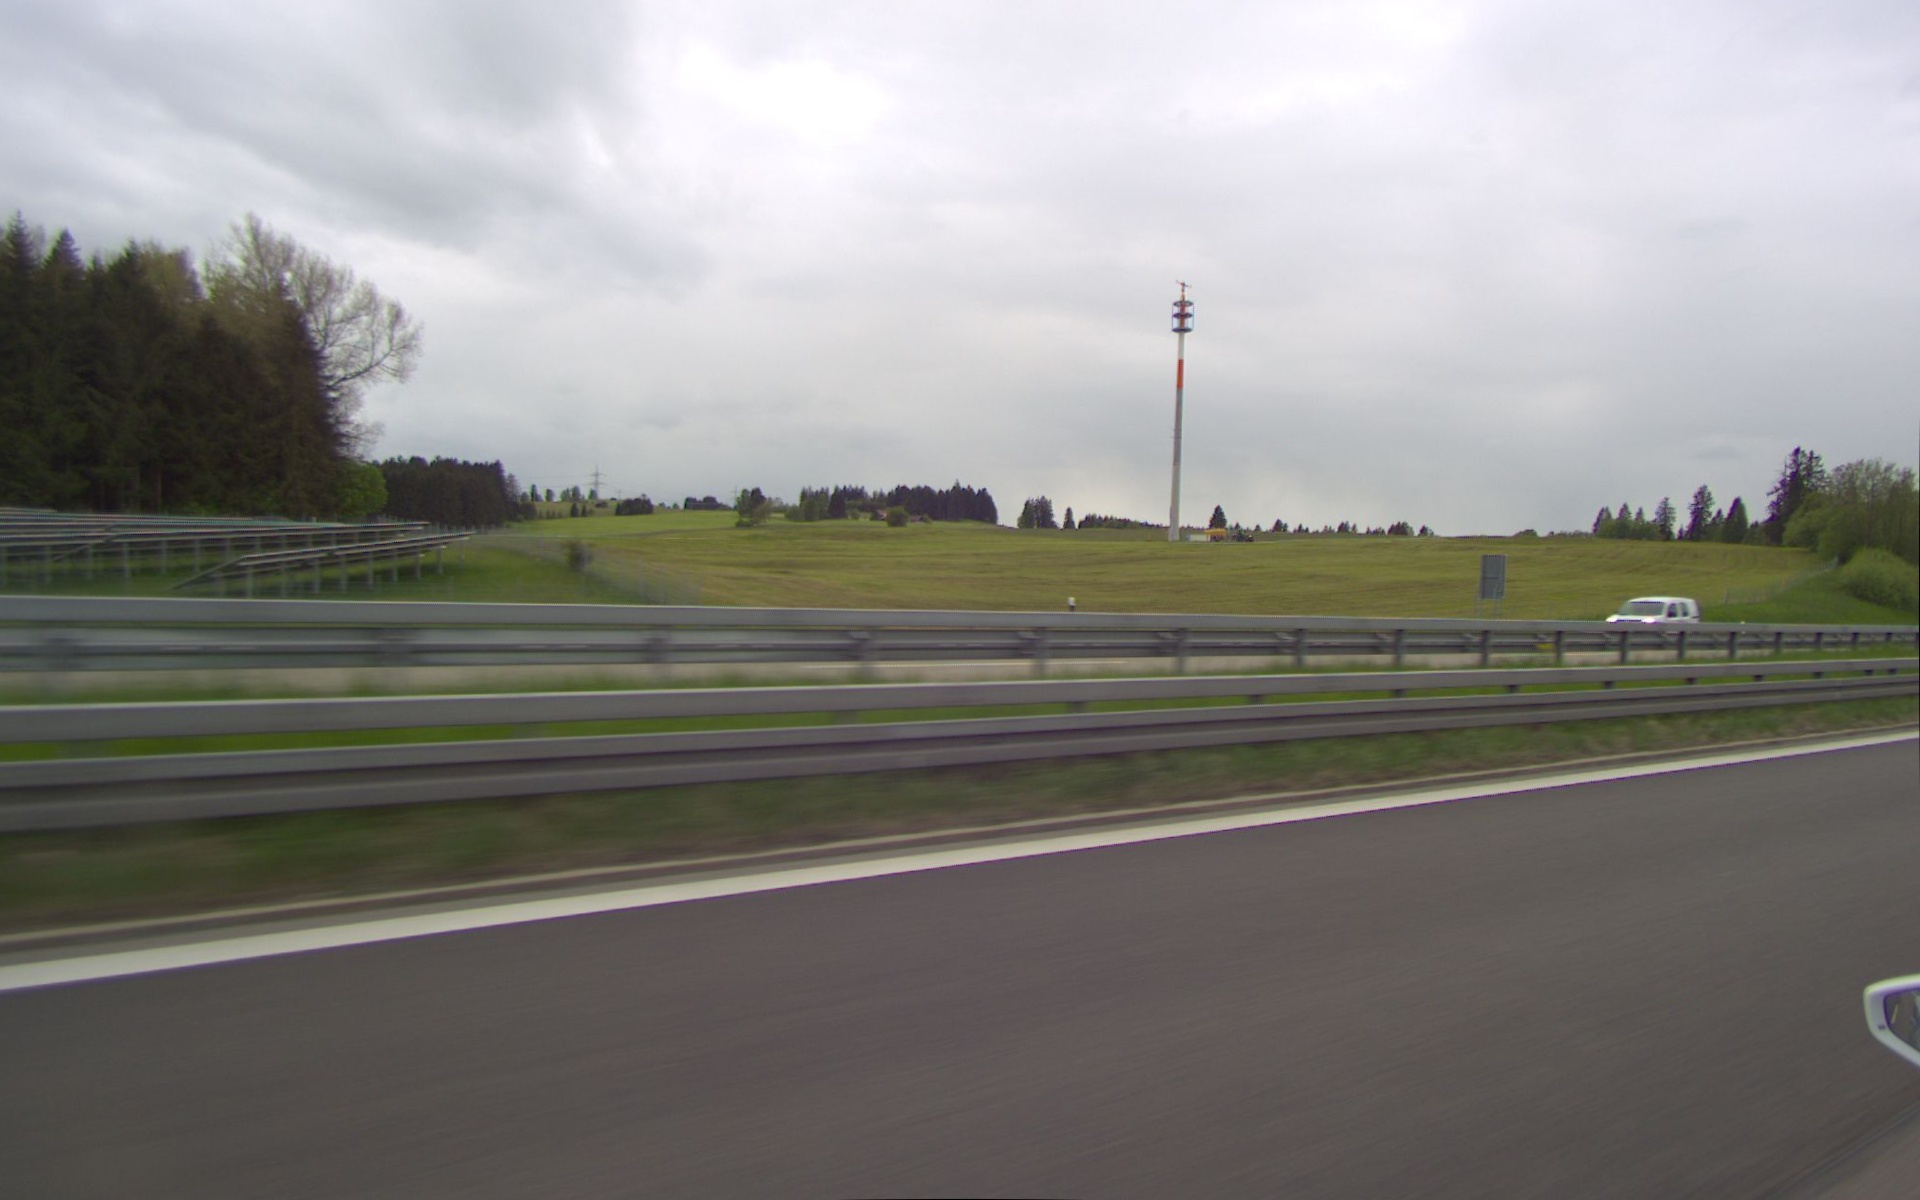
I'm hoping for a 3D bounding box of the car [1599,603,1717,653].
[{"bbox_3d":[27.139,1.071,39.027,4.573,1.709,1.983,1,3,-31],"label":"car"}]
